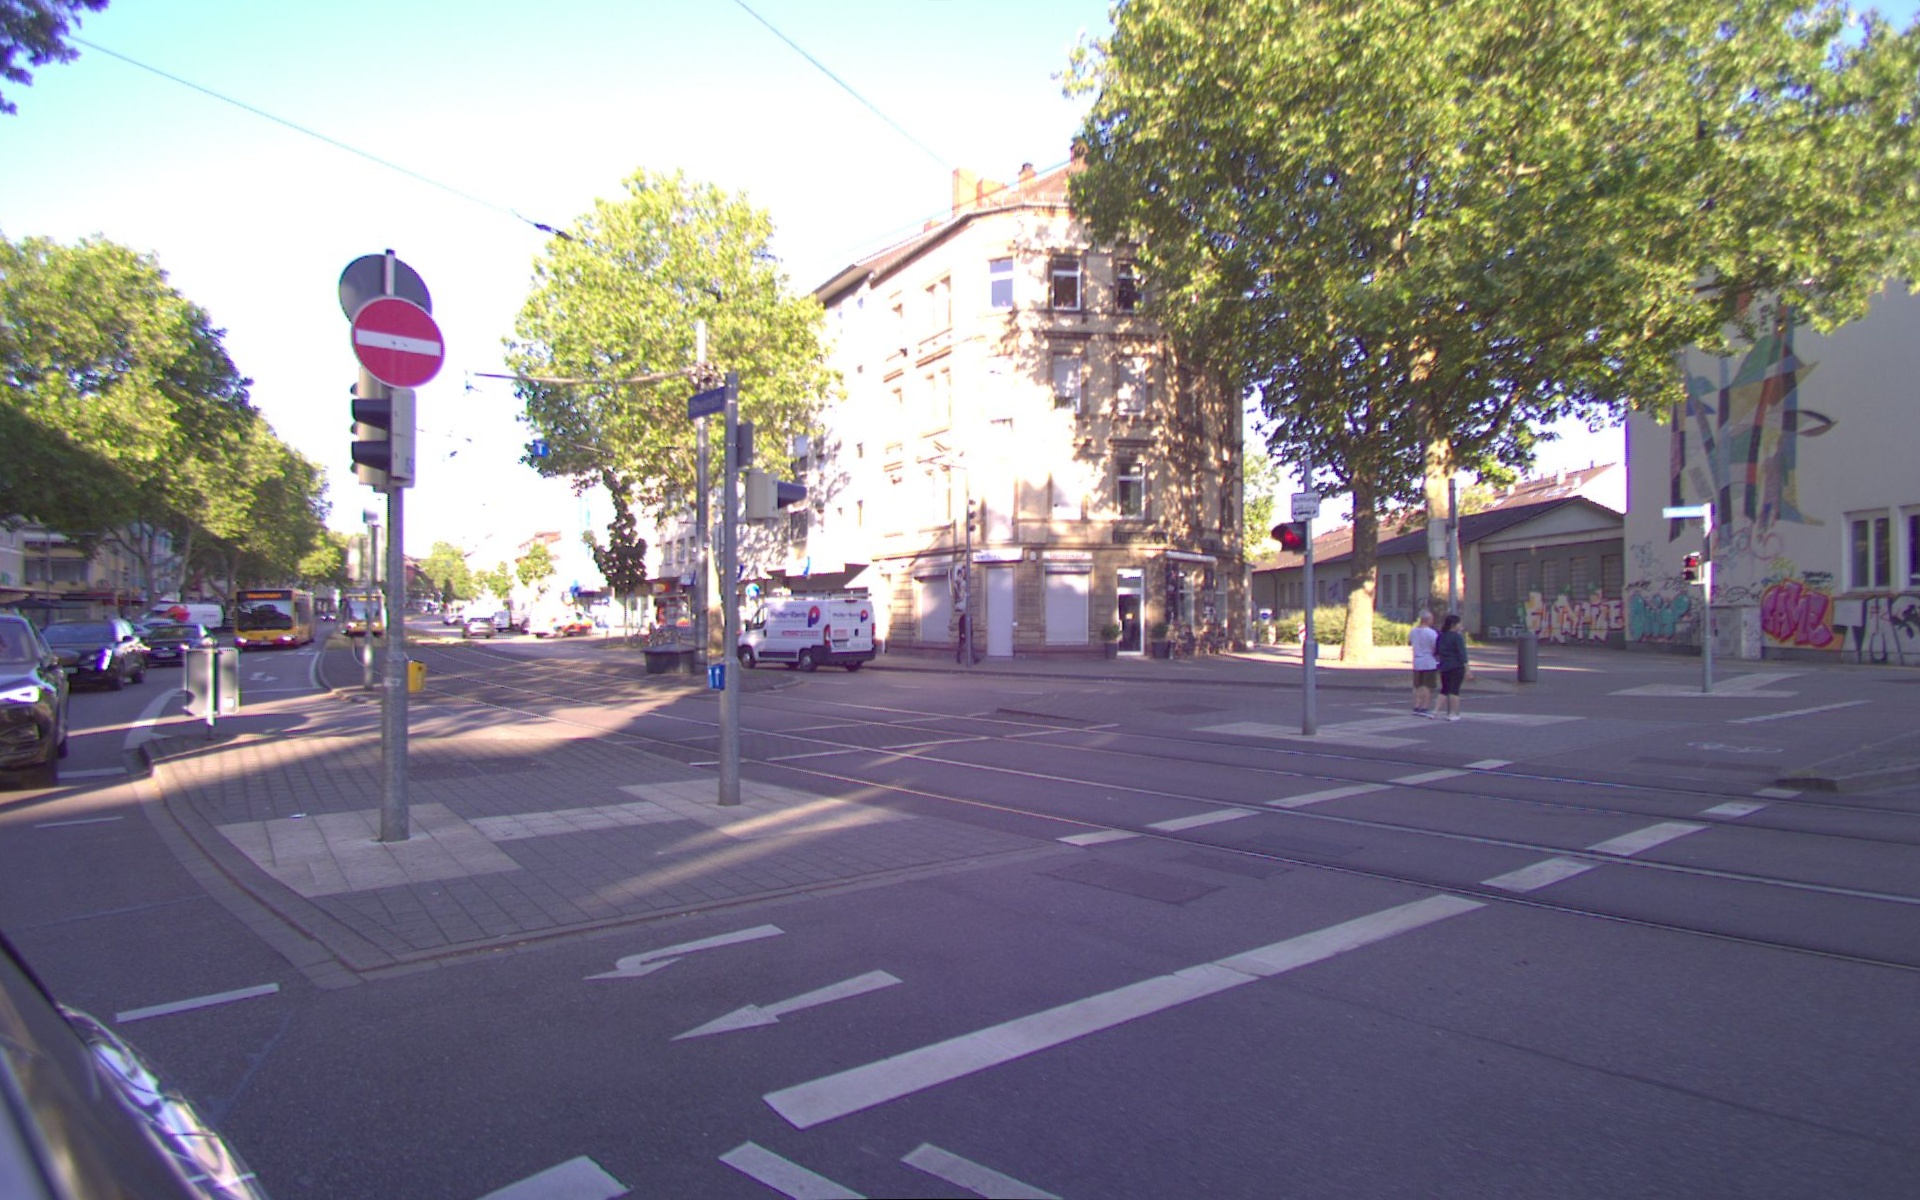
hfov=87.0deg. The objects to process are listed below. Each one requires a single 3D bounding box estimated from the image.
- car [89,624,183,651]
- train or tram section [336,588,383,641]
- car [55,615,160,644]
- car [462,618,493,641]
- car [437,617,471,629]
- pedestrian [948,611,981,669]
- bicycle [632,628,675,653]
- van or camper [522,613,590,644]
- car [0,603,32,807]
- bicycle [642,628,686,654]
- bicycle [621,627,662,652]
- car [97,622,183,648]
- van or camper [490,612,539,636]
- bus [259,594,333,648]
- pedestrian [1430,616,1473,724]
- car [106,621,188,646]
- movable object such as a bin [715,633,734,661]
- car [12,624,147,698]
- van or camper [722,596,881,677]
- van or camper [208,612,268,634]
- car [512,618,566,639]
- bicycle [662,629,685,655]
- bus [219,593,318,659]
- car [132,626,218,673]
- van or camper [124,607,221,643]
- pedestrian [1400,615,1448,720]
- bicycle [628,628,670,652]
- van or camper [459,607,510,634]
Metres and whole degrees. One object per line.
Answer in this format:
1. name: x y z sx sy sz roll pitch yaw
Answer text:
1. car: -47.927 2.152 58.929 1.646 1.447 3.975 1 -1 18
2. train or tram section: -43.372 1.076 73.318 2.595 3.476 11.164 -1 0 -29
3. car: -44.375 1.523 52.785 1.644 1.447 3.980 1 -1 15
4. car: -32.736 1.975 68.723 1.859 1.484 4.221 0 -1 -25
5. car: -70.340 3.195 140.653 1.766 1.501 3.869 -2 0 36
6. pedestrian: 0.135 1.282 32.530 0.610 1.801 0.974 -2 0 -27
7. bicycle: -14.897 1.957 49.194 1.868 1.133 0.654 -1 -1 -34
8. van or camper: -28.500 1.985 71.568 1.934 1.912 4.790 -2 0 16
9. car: -9.696 0.881 9.239 1.782 1.660 4.004 0 -1 -43
10. bicycle: -13.968 1.933 47.746 1.868 1.133 0.654 -1 -1 -34
11. bicycle: -16.008 1.979 50.932 1.868 1.133 0.535 -1 -1 -34
12. car: -51.949 2.183 64.208 1.646 1.534 3.975 1 -1 18
13. van or camper: -41.027 2.224 93.223 1.783 2.004 4.432 -2 0 14
14. bus: -41.649 1.159 63.829 2.825 3.001 12.279 -2 1 -29
15. pedestrian: 7.040 0.988 14.492 0.515 1.515 0.405 -1 -1 30
16. car: -53.684 2.179 66.923 1.646 1.575 3.975 1 -1 18
17. movable object such as a bin: -9.324 1.844 40.140 0.539 1.102 0.646 -1 -2 9
18. car: -20.819 1.369 24.096 1.631 1.593 4.012 0 -1 -29
19. van or camper: -5.012 1.144 31.577 5.102 2.337 2.144 -2 -3 42
20. van or camper: -81.251 2.579 113.965 1.982 2.488 5.434 -1 -1 16
21. car: -33.883 2.285 81.577 1.751 1.501 4.435 -2 0 12
22. bicycle: -12.888 1.881 45.521 0.501 1.133 1.917 -1 -1 -30
23. bus: -35.920 1.184 52.982 2.825 3.001 12.280 -2 1 -28
24. car: -27.092 1.668 35.059 1.631 1.497 4.174 0 -1 -27
25. van or camper: -57.100 1.805 73.535 1.984 2.488 5.429 -1 -1 18
26. pedestrian: 6.903 0.987 15.061 0.591 1.515 0.516 -1 -1 30
27. bicycle: -15.327 1.964 49.874 1.868 1.133 0.535 -1 -1 -34
28. van or camper: -52.036 2.231 111.007 1.976 2.687 6.386 -2 0 6
